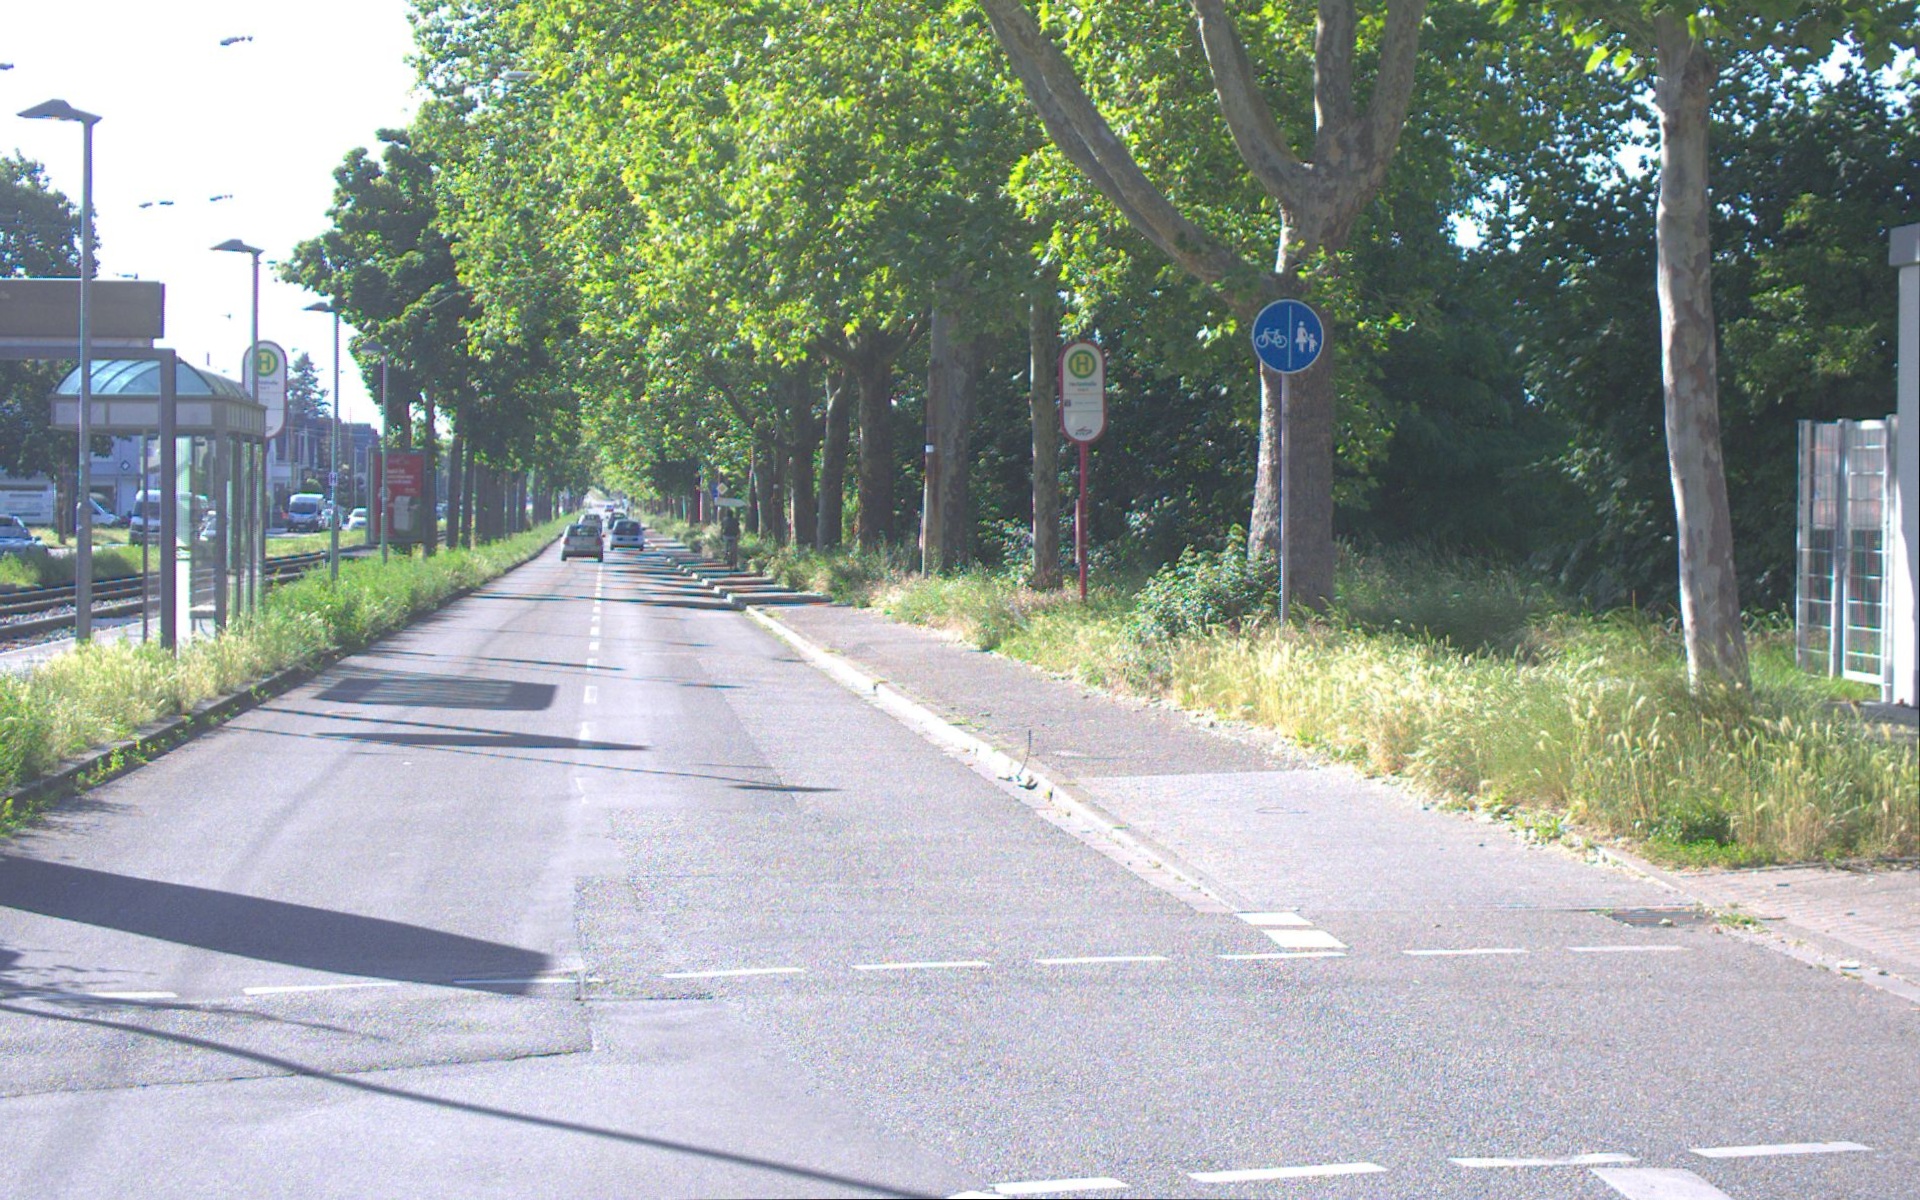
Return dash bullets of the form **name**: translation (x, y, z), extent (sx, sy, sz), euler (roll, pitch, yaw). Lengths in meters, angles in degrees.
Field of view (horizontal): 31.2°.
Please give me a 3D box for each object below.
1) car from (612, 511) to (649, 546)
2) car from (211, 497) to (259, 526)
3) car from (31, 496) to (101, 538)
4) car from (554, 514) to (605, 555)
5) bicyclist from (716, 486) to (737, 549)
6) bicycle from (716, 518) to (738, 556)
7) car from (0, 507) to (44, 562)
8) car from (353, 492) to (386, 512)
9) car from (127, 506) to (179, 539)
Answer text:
- **car**: translation (-16.261, -3.543, 169.778), extent (1.750, 1.599, 3.751), euler (1, 2, -6)
- **car**: translation (-37.621, -4.596, 178.404), extent (1.920, 1.433, 4.001), euler (0, 2, -4)
- **car**: translation (-34.574, -3.234, 133.017), extent (1.920, 1.571, 4.001), euler (0, 2, -4)
- **car**: translation (-14.592, -2.520, 131.868), extent (1.867, 1.481, 3.556), euler (1, 2, -6)
- **bicyclist**: translation (-6.608, -2.343, 97.266), extent (0.534, 1.763, 0.713), euler (0, 2, -8)
- **bicycle**: translation (-6.595, -1.787, 97.200), extent (0.536, 1.062, 1.434), euler (0, 2, -8)
- **car**: translation (-27.008, -1.857, 96.089), extent (1.993, 1.464, 4.377), euler (1, 2, -5)
- **car**: translation (-38.659, -6.412, 225.077), extent (1.920, 1.262, 4.001), euler (0, 2, -6)
- **car**: translation (-36.683, -3.532, 156.295), extent (1.744, 1.491, 3.593), euler (0, 2, -4)
